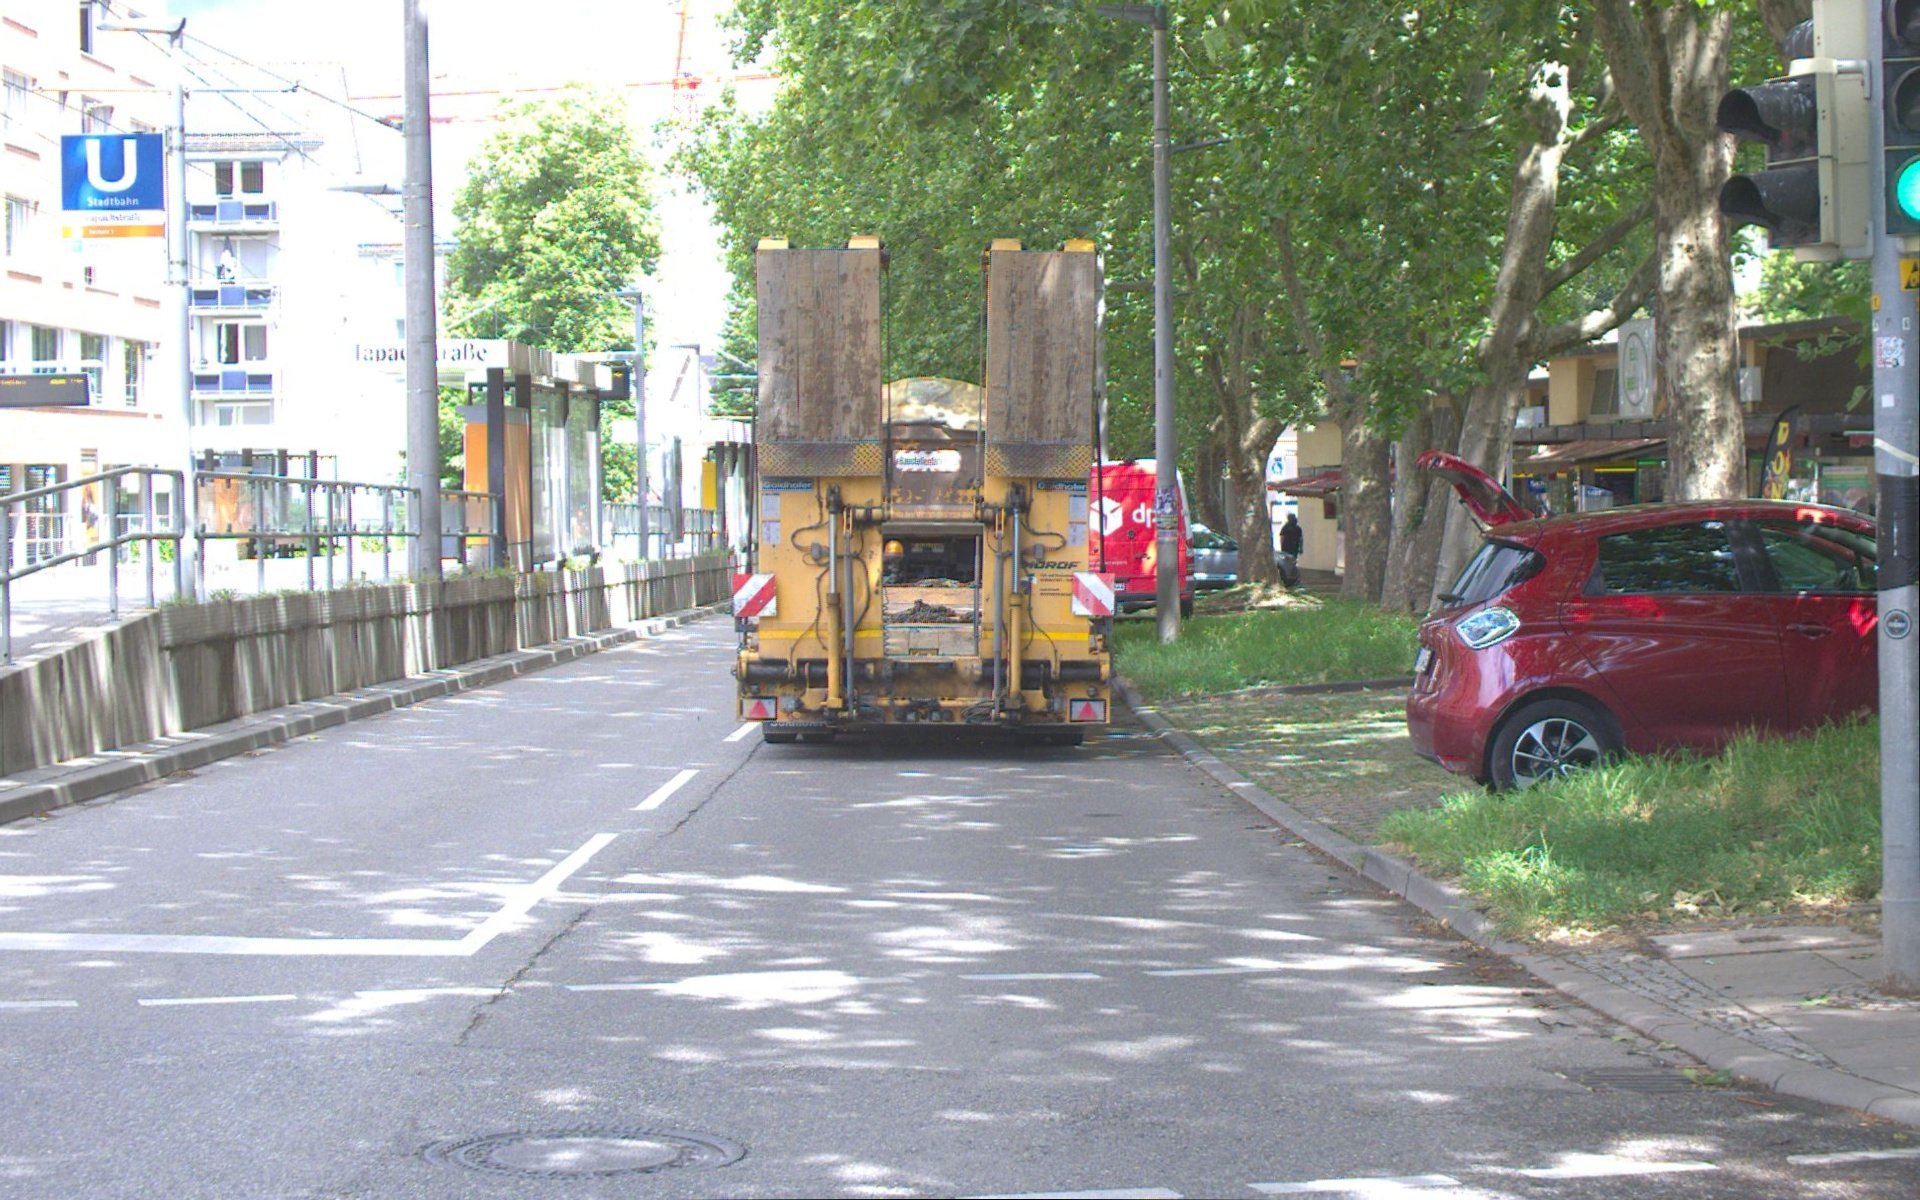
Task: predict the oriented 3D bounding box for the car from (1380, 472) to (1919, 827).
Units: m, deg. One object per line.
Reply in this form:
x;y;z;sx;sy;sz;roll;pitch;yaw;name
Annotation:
4.324;0.185;17.932;4.030;1.606;1.731;-4;1;3;car

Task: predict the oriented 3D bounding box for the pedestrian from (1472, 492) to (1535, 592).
9.962;-1.061;63.033;0.604;1.795;0.925;-2;0;-45;pedestrian

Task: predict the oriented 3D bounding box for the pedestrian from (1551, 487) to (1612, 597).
8.242;-0.774;45.630;0.625;1.442;1.029;0;1;0;pedestrian

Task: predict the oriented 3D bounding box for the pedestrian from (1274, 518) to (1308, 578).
7.784;-1.218;80.876;0.694;1.387;0.512;-1;1;-3;pedestrian

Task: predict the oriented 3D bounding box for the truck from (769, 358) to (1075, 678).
-0.354;-0.890;37.885;2.989;3.124;7.888;1;1;0;truck

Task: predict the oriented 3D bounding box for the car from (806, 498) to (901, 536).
-6.068;-4.693;195.663;5.088;2.095;1.977;0;1;-13;car

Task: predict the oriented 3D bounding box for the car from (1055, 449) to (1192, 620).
2.614;-1.072;56.477;1.904;2.572;6.834;-2;1;1;car

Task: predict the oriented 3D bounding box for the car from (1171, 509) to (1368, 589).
6.462;-1.063;72.033;3.828;1.557;1.620;-2;1;-6;car

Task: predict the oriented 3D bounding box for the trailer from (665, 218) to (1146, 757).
-0.360;-0.856;28.367;3.154;3.540;11.097;1;1;0;trailer

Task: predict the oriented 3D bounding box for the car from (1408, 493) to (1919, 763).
4.778;0.149;22.272;3.406;1.509;1.610;-3;1;-3;car

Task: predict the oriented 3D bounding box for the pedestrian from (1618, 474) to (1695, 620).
9.186;-0.691;45.366;0.743;1.877;0.941;-2;0;0;pedestrian
